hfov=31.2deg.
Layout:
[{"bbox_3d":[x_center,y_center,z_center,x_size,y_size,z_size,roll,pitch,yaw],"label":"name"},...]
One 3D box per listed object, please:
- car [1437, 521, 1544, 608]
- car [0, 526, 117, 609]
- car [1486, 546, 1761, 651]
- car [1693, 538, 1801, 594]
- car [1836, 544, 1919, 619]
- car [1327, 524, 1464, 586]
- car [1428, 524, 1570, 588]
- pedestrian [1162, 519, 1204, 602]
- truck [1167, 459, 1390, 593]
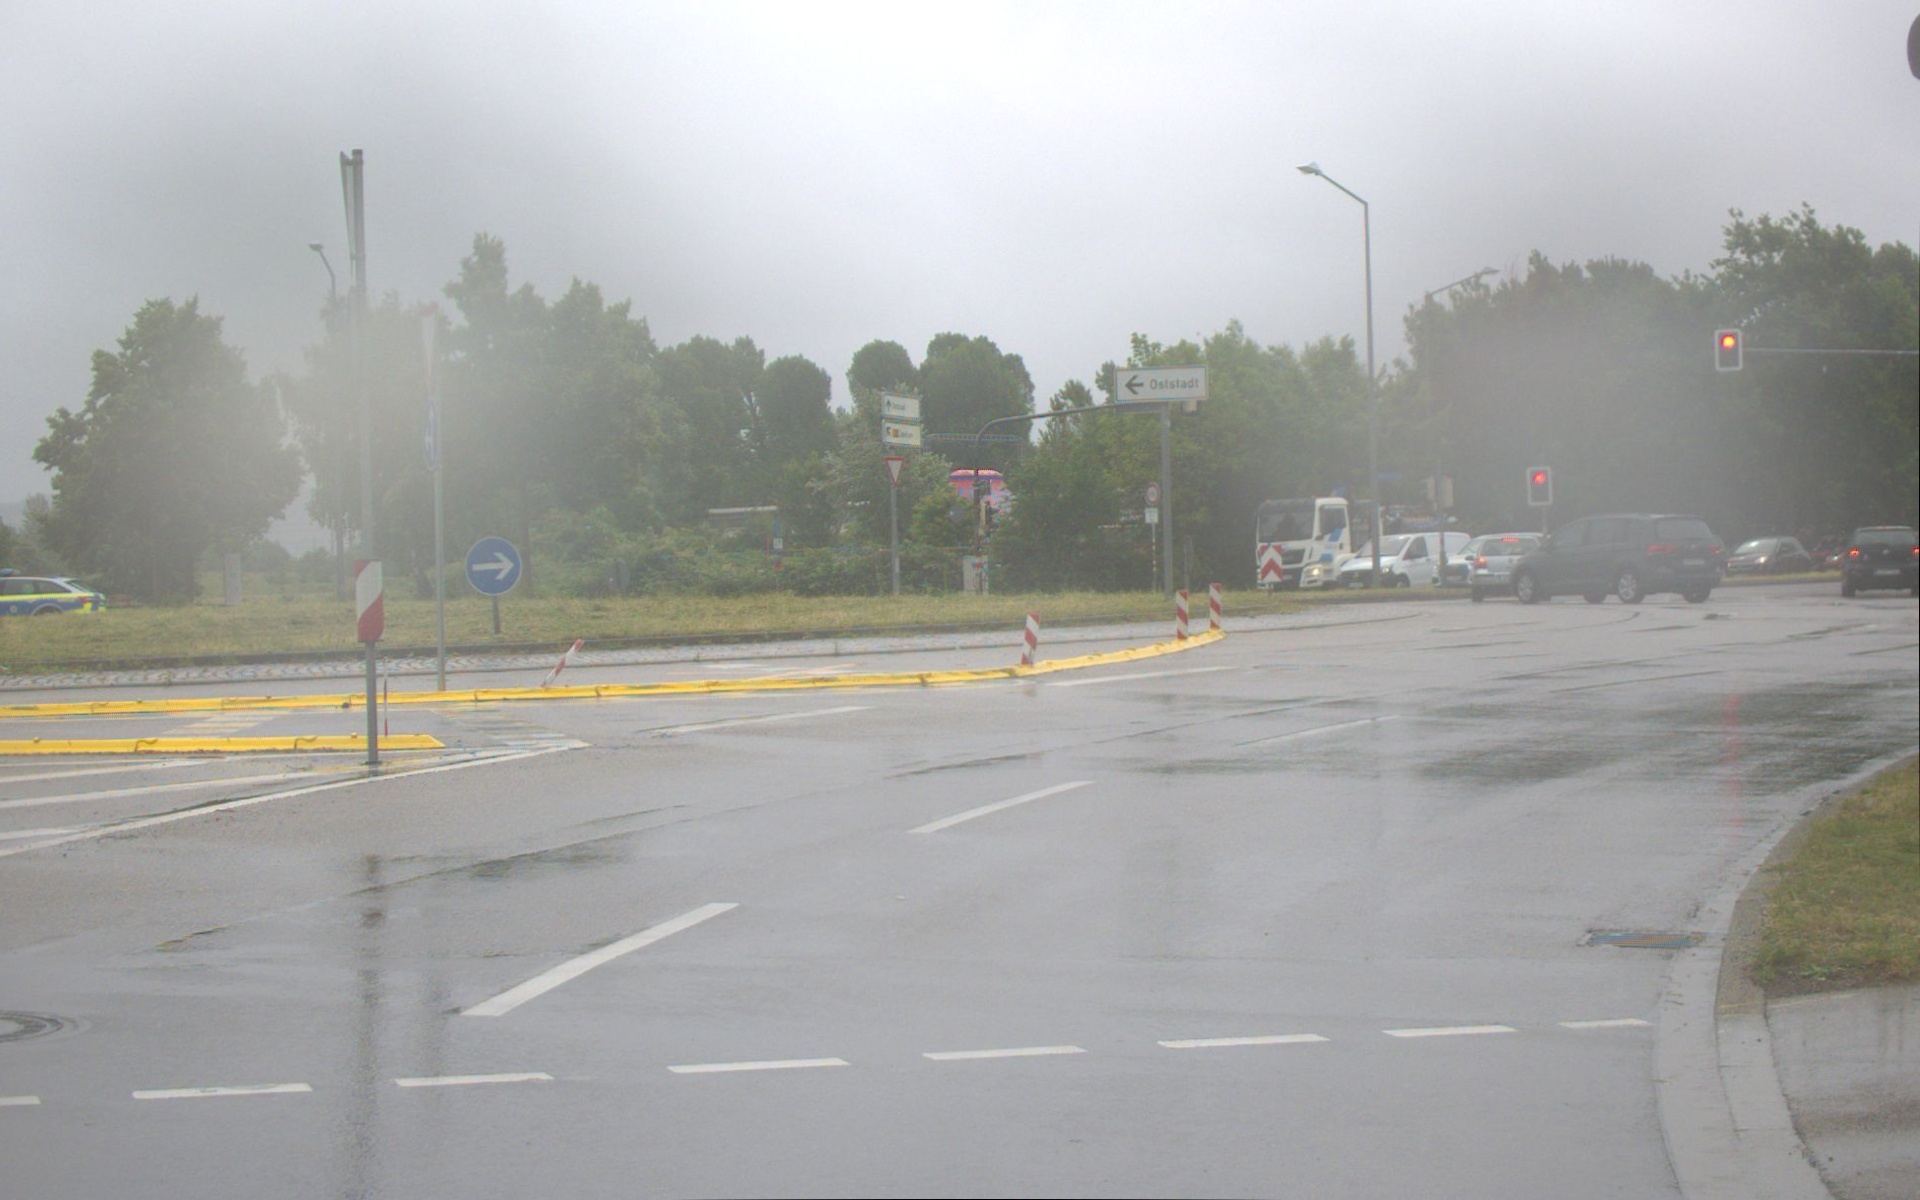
[{"bbox_3d":[11.706,-0.756,75.671,1.995,1.845,4.773,1,0,13],"label":"car"},{"bbox_3d":[-22.078,-0.734,79.276,4.760,1.845,2.000,-1,1,0],"label":"car"},{"bbox_3d":[12.097,-0.050,62.941,1.994,1.845,4.774,1,0,-39],"label":"car"},{"bbox_3d":[24.674,-1.056,107.755,1.800,1.656,3.991,1,0,37],"label":"car"},{"bbox_3d":[19.059,-0.406,71.097,1.619,1.449,3.986,-1,1,12],"label":"car"},{"bbox_3d":[12.206,-1.245,96.118,1.800,1.656,4.124,1,0,41],"label":"car"},{"bbox_3d":[14.854,-1.202,94.597,1.800,1.656,4.399,1,0,41],"label":"car"},{"bbox_3d":[3.526,-0.627,54.348,0.453,1.300,0.485,-1,1,38],"label":"pedestrian"},{"bbox_3d":[6.969,-1.536,74.114,2.464,2.677,8.049,1,0,23],"label":"truck"}]
